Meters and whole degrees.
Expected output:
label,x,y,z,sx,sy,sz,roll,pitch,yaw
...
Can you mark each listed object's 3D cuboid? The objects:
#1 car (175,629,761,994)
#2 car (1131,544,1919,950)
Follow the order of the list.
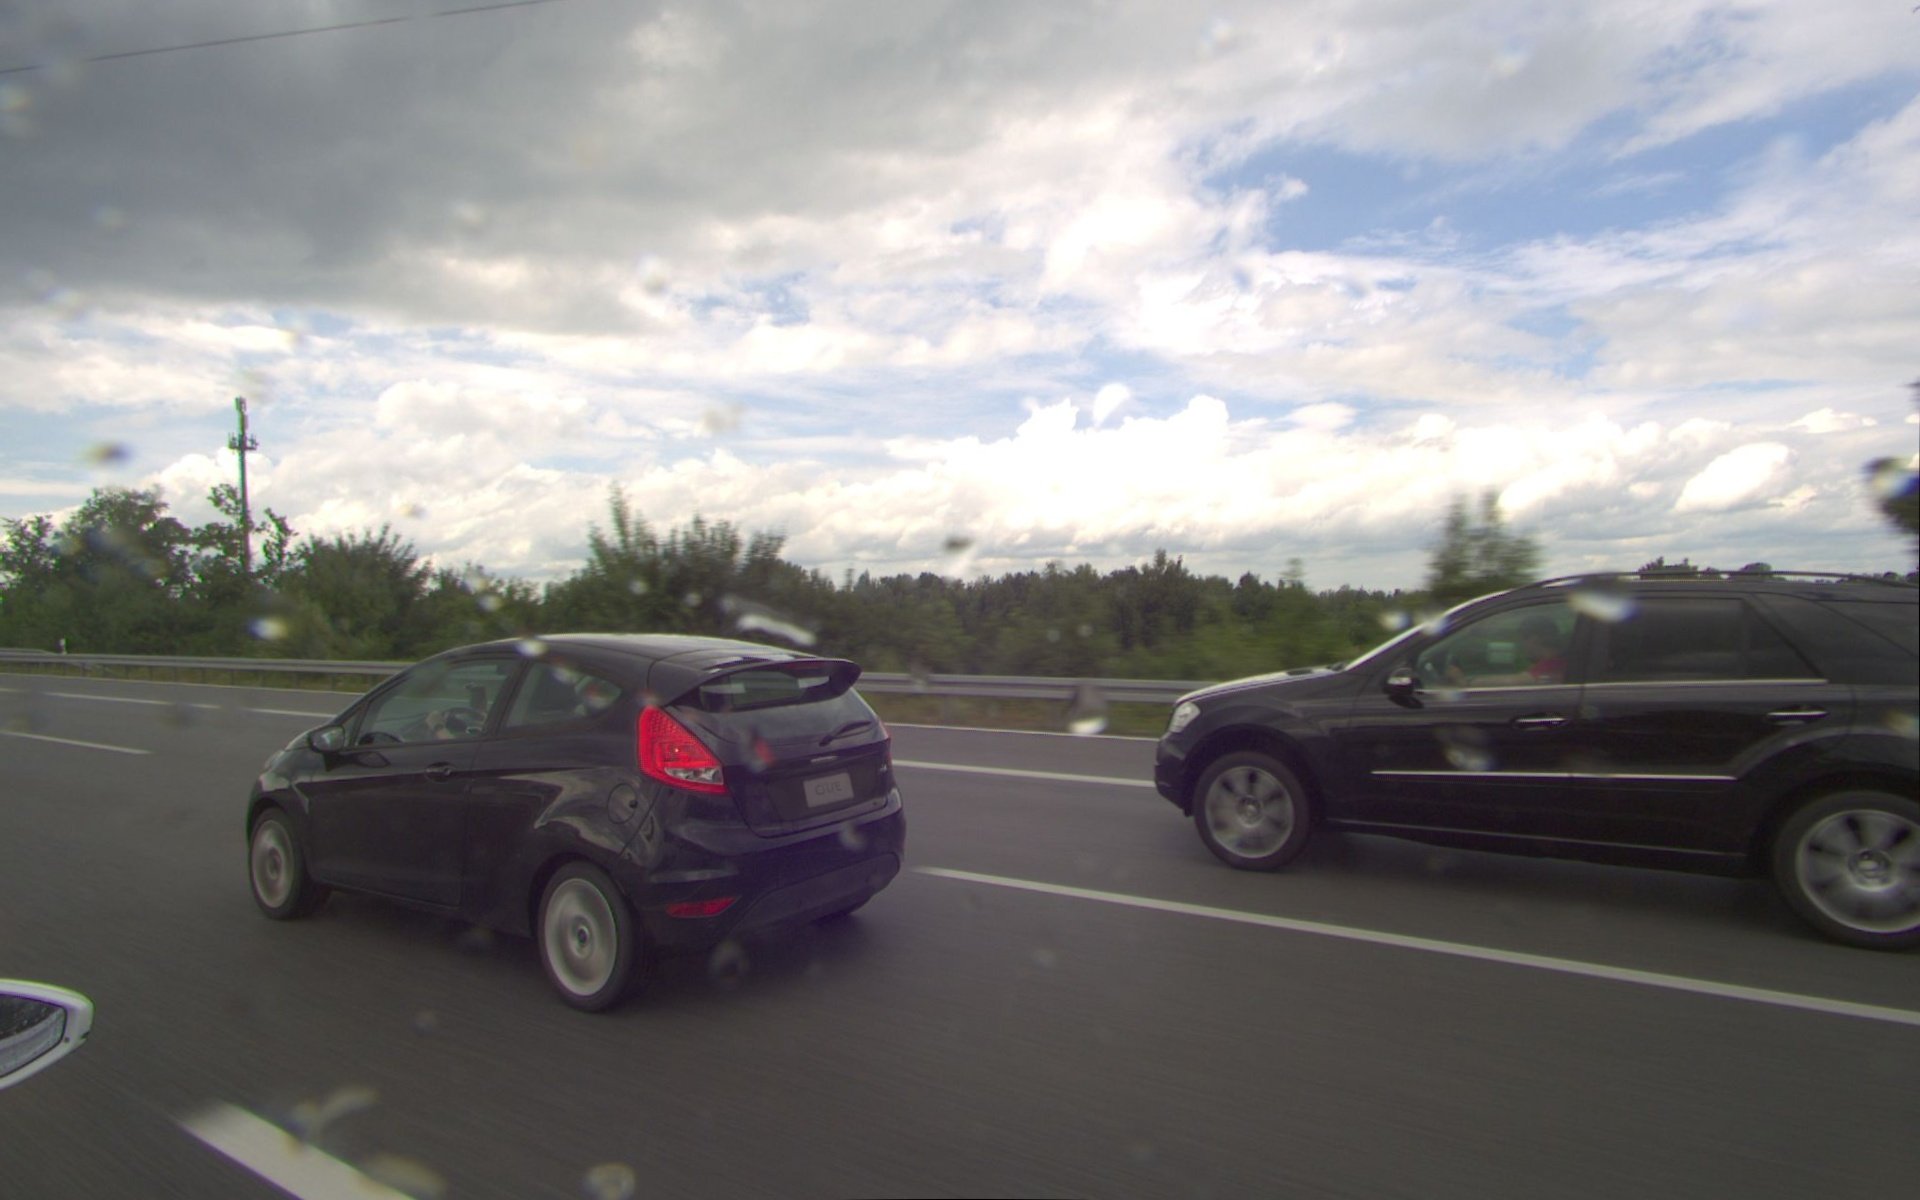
label,x,y,z,sx,sy,sz,roll,pitch,yaw
car,-2.741,0.890,5.462,3.118,1.460,1.445,-1,-1,32
car,3.468,0.704,6.029,4.436,1.799,1.918,-1,-2,31
